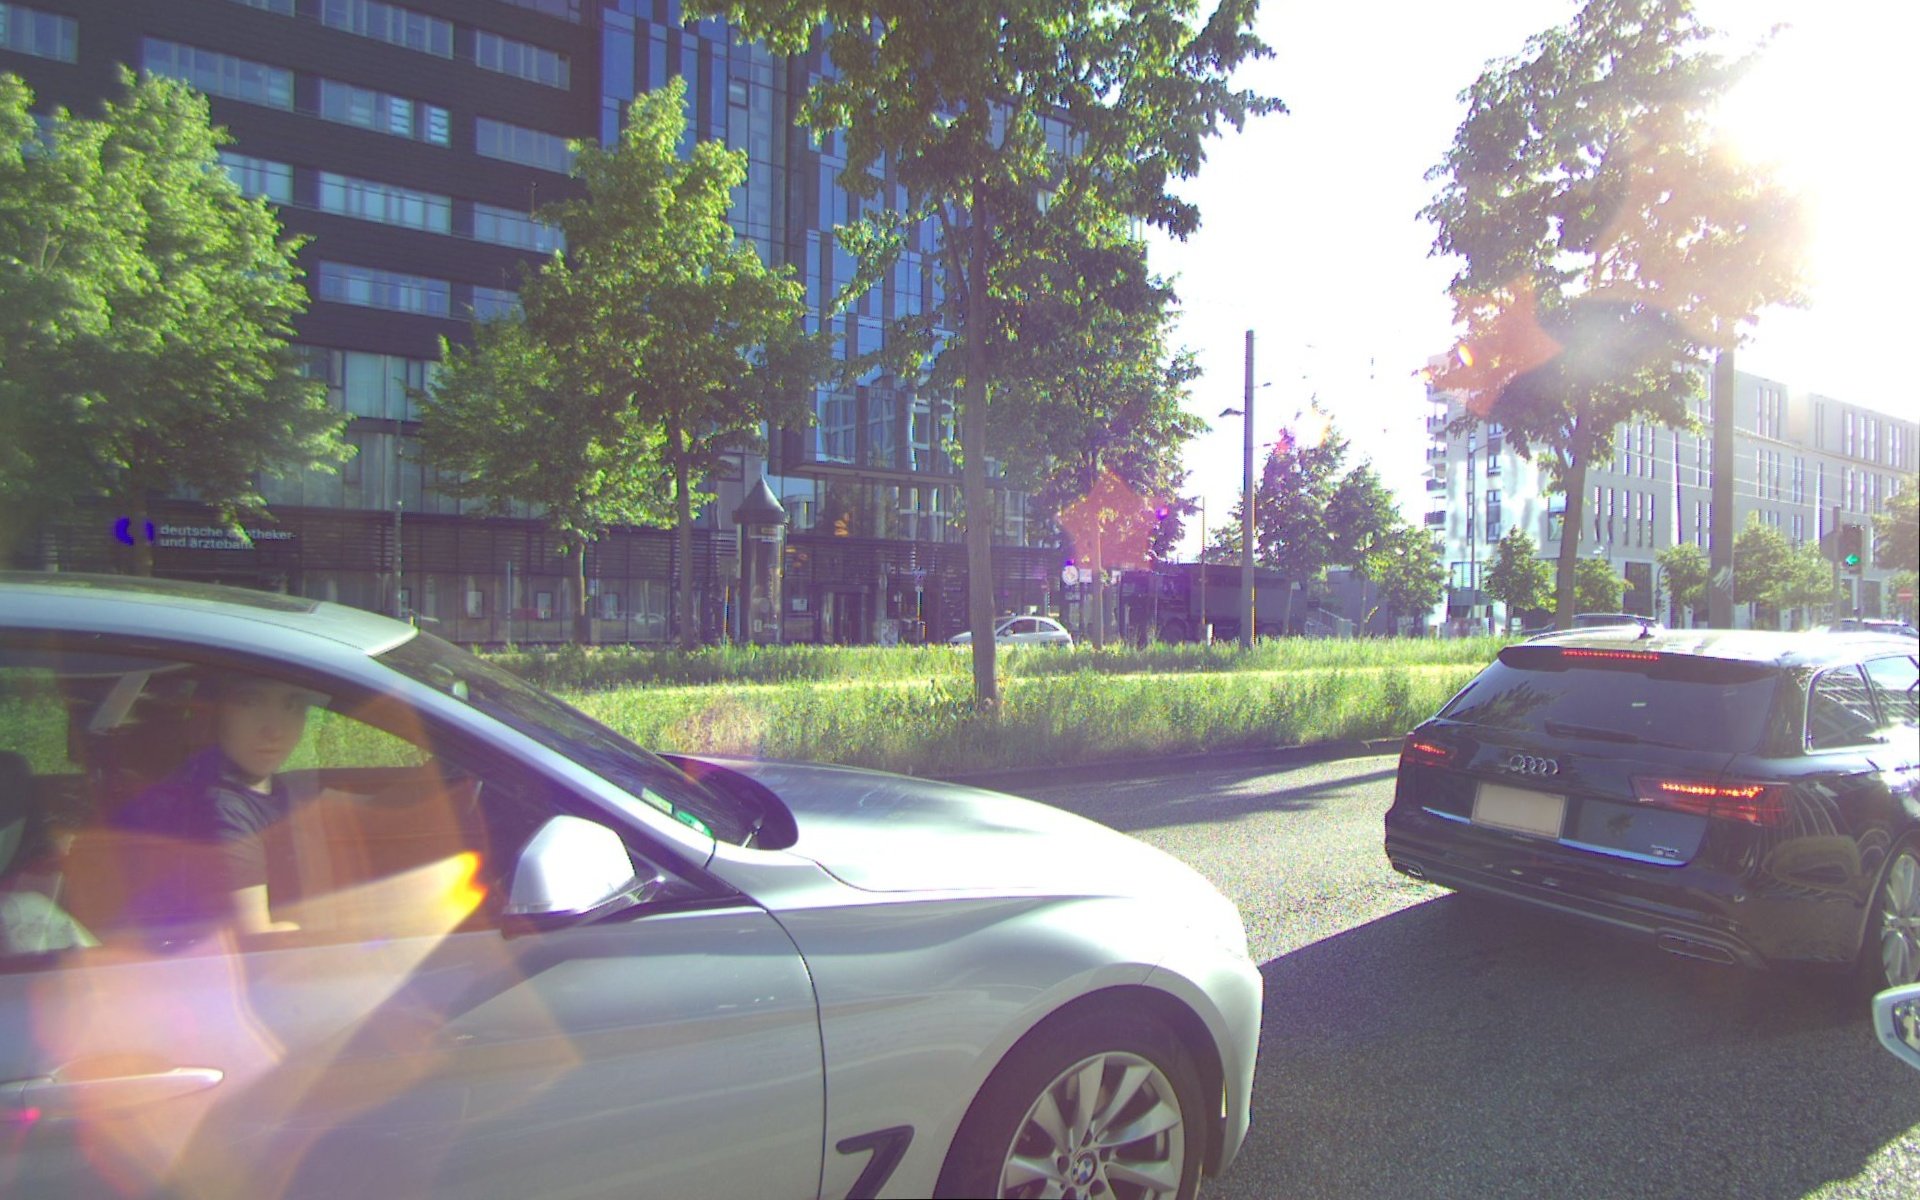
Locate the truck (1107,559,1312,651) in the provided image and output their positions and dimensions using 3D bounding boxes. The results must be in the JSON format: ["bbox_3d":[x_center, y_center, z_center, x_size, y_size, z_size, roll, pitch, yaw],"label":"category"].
[{"bbox_3d":[11.694,0.303,46.499,10.094,3.904,2.877,1,-1,-31],"label":"truck"}]

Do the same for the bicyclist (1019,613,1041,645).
[{"bbox_3d":[3.123,1.300,44.877,0.811,1.443,0.475,1,-1,-30],"label":"bicyclist"}]

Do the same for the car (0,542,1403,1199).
[{"bbox_3d":[-1.324,0.697,2.016,4.509,1.504,1.810,1,-1,-31],"label":"car"}]

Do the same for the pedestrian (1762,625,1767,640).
[{"bbox_3d":[75.773,3.086,94.637,0.275,1.373,0.295,1,0,-30],"label":"pedestrian"}]

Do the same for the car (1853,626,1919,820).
[{"bbox_3d":[9.323,0.968,8.193,4.288,1.445,1.833,1,-1,-30],"label":"car"}]

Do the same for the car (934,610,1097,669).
[{"bbox_3d":[1.665,1.154,29.613,4.514,1.503,1.790,1,3,-30],"label":"car"}]

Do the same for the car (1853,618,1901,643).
[{"bbox_3d":[78.094,2.591,85.530,3.953,2.040,1.984,1,-1,-30],"label":"car"}]

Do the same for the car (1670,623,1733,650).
[{"bbox_3d":[51.467,2.513,69.682,4.319,1.838,1.984,1,-1,-30],"label":"car"}]

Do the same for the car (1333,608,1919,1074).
[{"bbox_3d":[4.376,0.835,5.351,4.911,1.504,1.864,1,-1,-32],"label":"car"}]

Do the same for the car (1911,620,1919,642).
[{"bbox_3d":[90.292,2.877,93.145,3.953,2.040,1.984,1,-1,-30],"label":"car"}]

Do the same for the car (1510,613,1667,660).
[{"bbox_3d":[21.670,1.224,34.830,4.488,1.467,1.801,0,-1,31],"label":"car"}]

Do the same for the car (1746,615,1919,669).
[{"bbox_3d":[25.949,1.183,29.838,1.769,1.467,4.570,1,-1,3],"label":"car"}]
